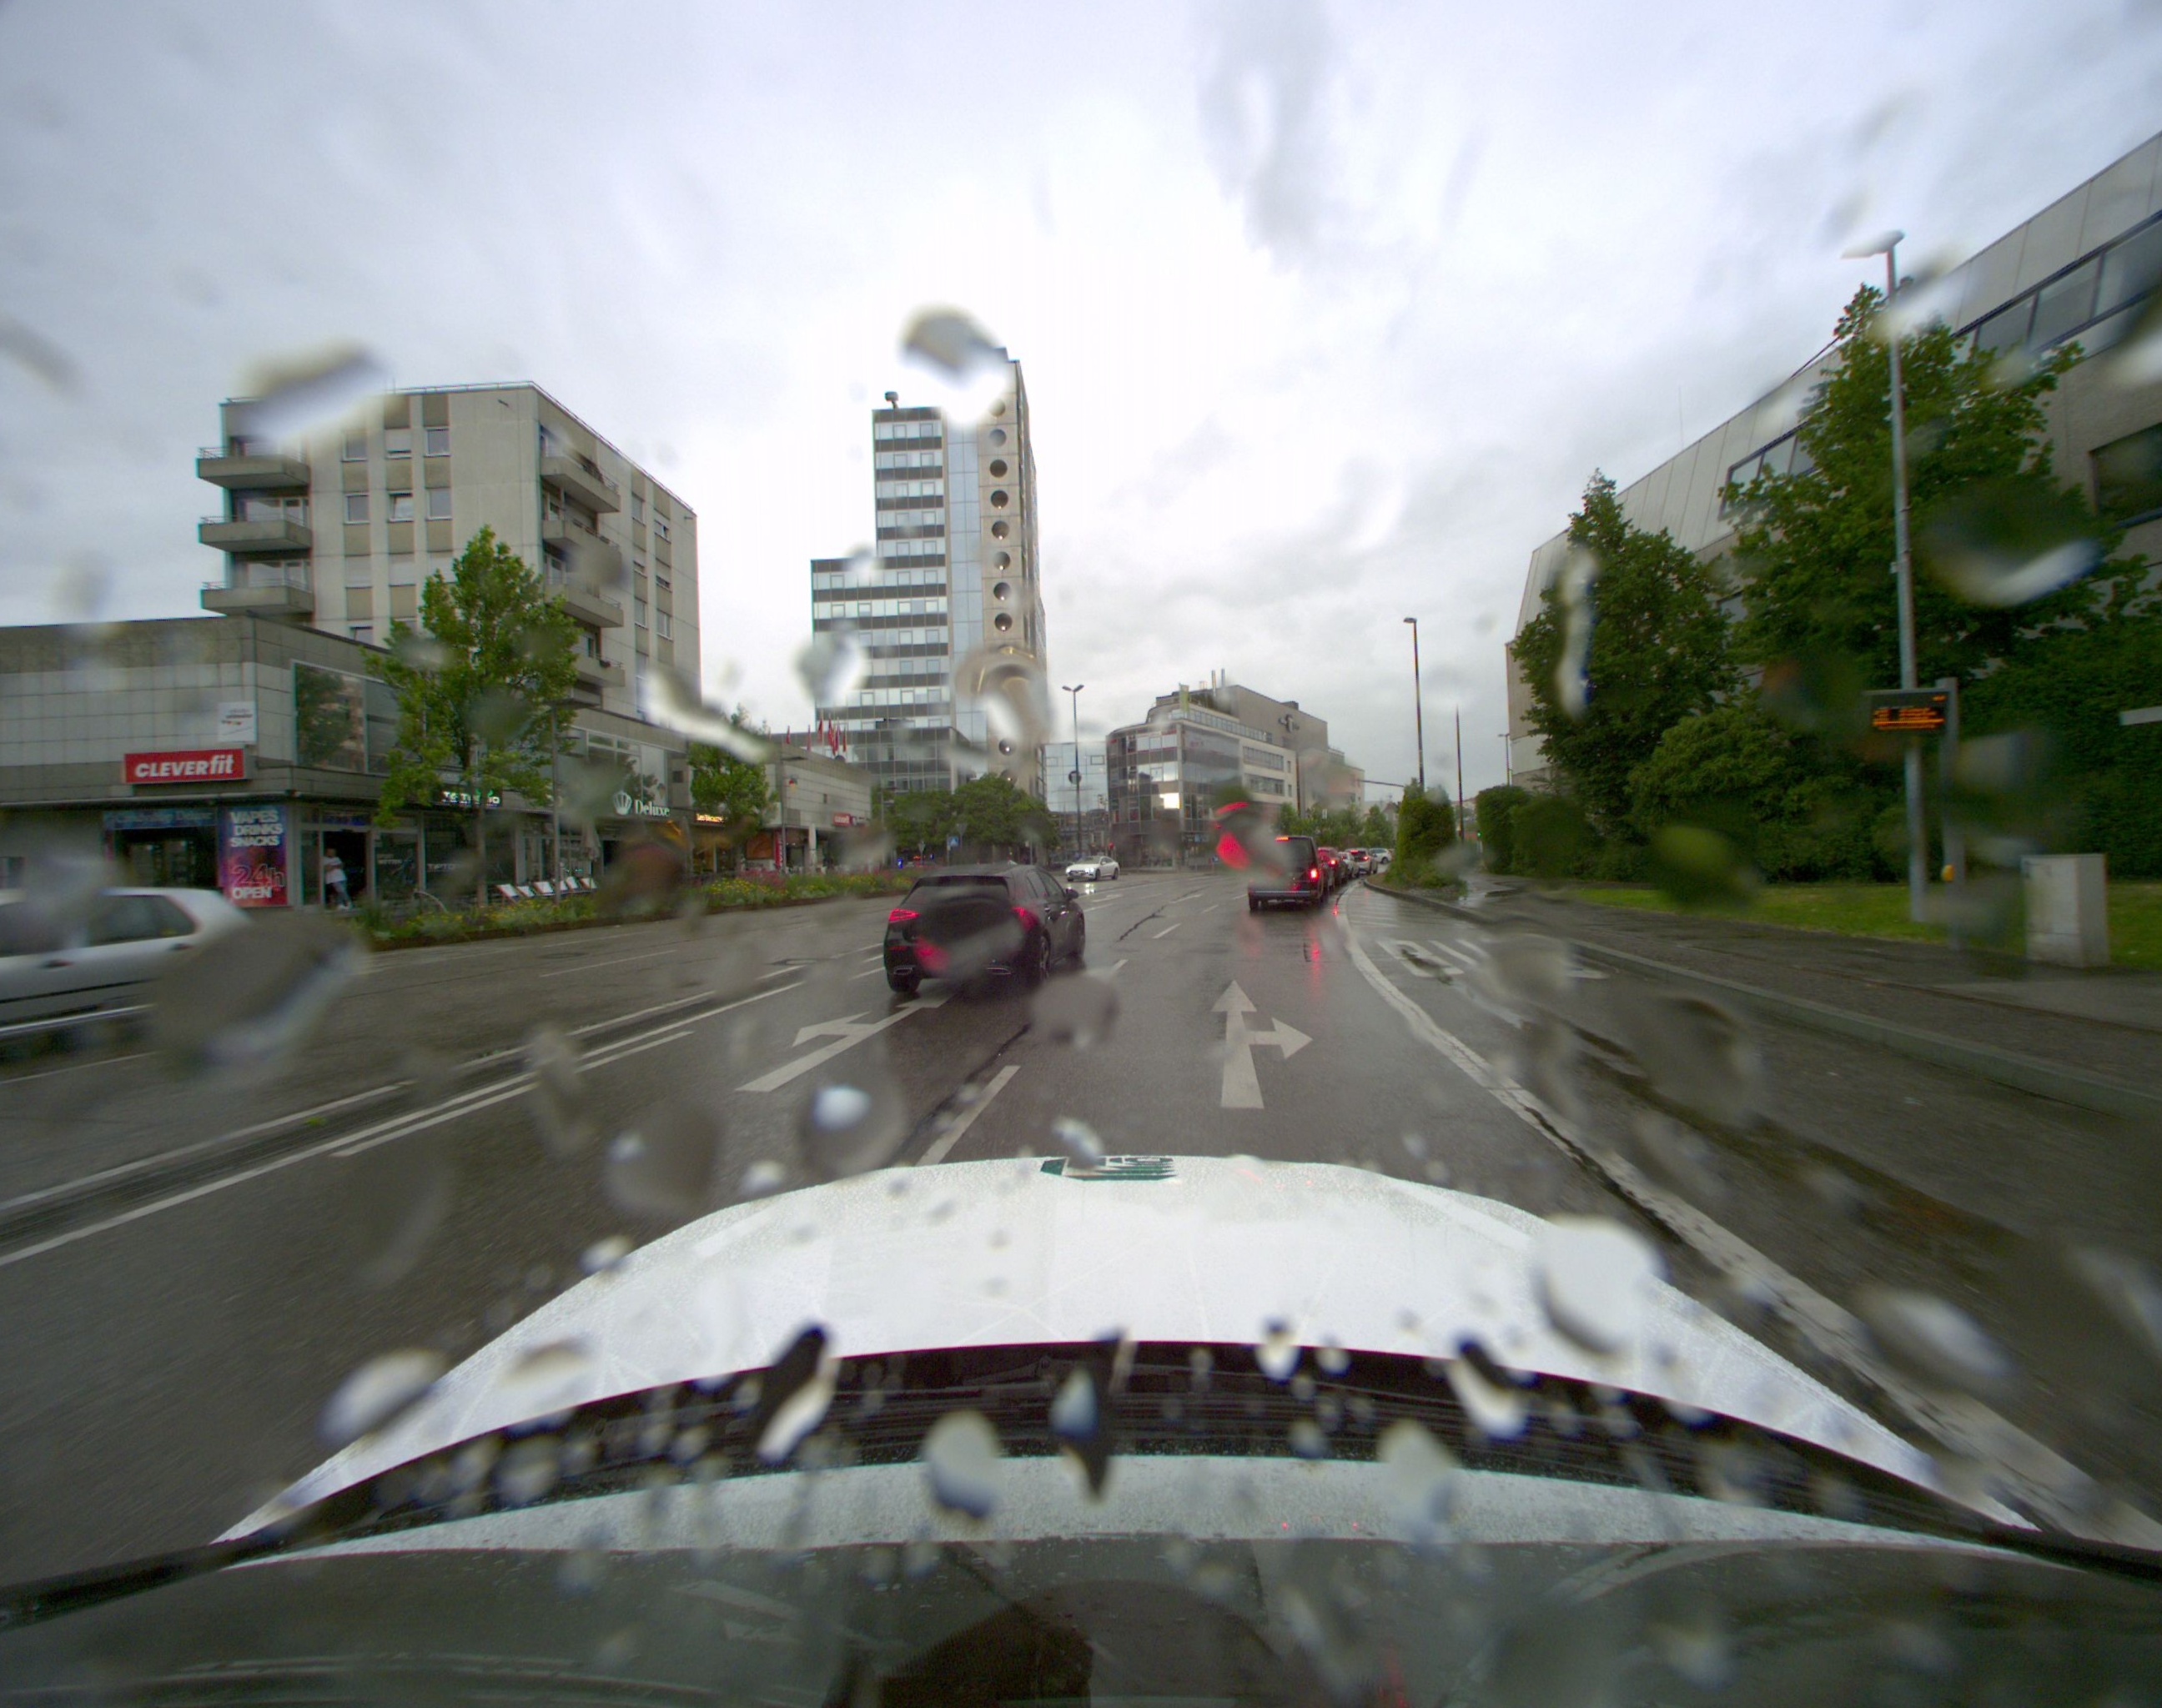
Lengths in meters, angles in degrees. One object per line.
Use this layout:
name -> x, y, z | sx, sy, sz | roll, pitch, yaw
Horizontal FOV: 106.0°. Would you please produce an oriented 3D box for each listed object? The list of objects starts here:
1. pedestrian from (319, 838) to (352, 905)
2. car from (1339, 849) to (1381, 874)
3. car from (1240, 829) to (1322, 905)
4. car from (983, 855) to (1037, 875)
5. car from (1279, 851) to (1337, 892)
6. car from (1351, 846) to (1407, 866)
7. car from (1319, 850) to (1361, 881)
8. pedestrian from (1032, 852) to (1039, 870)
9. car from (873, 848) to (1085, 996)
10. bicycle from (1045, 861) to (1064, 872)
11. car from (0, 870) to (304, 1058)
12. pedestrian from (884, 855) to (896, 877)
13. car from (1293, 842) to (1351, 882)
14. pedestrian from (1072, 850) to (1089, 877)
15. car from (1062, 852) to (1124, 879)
pedestrian -> -20.998, 0.492, 22.939 | 0.423, 1.848, 0.503 | -2, -1, 14
car -> 16.536, 0.418, 48.165 | 1.894, 1.400, 3.478 | -2, -1, 25
car -> 5.686, 0.356, 22.810 | 1.980, 1.894, 4.606 | -1, -1, 16
car -> -5.911, 0.910, 67.943 | 4.167, 1.595, 1.875 | -1, 0, 9
car -> 8.393, 0.600, 29.857 | 1.618, 1.386, 4.538 | -1, 0, 21
car -> 26.554, 0.213, 72.577 | 4.505, 1.682, 1.879 | -1, 0, -20
car -> 13.497, 0.559, 42.316 | 1.619, 1.448, 4.293 | -1, 1, 24
pedestrian -> -5.180, 0.762, 93.023 | 0.760, 2.014, 0.714 | -1, -1, 0
car -> -1.072, 0.691, 10.426 | 1.806, 1.529, 3.820 | 0, 0, 7
bicycle -> -3.207, 1.463, 98.879 | 2.265, 1.247, 0.676 | -2, -1, 1
car -> -9.517, 0.939, 6.928 | 1.693, 1.466, 4.107 | -3, 0, 3
pedestrian -> -12.189, 0.765, 51.893 | 0.491, 1.348, 0.540 | -2, -1, 39
car -> 10.749, 0.327, 36.128 | 1.884, 1.621, 4.359 | -1, 0, 23
pedestrian -> -0.056, 0.708, 61.673 | 1.160, 2.014, 1.326 | -1, 0, -4
car -> 0.778, 0.630, 47.629 | 1.825, 1.460, 4.836 | -1, 0, 25
